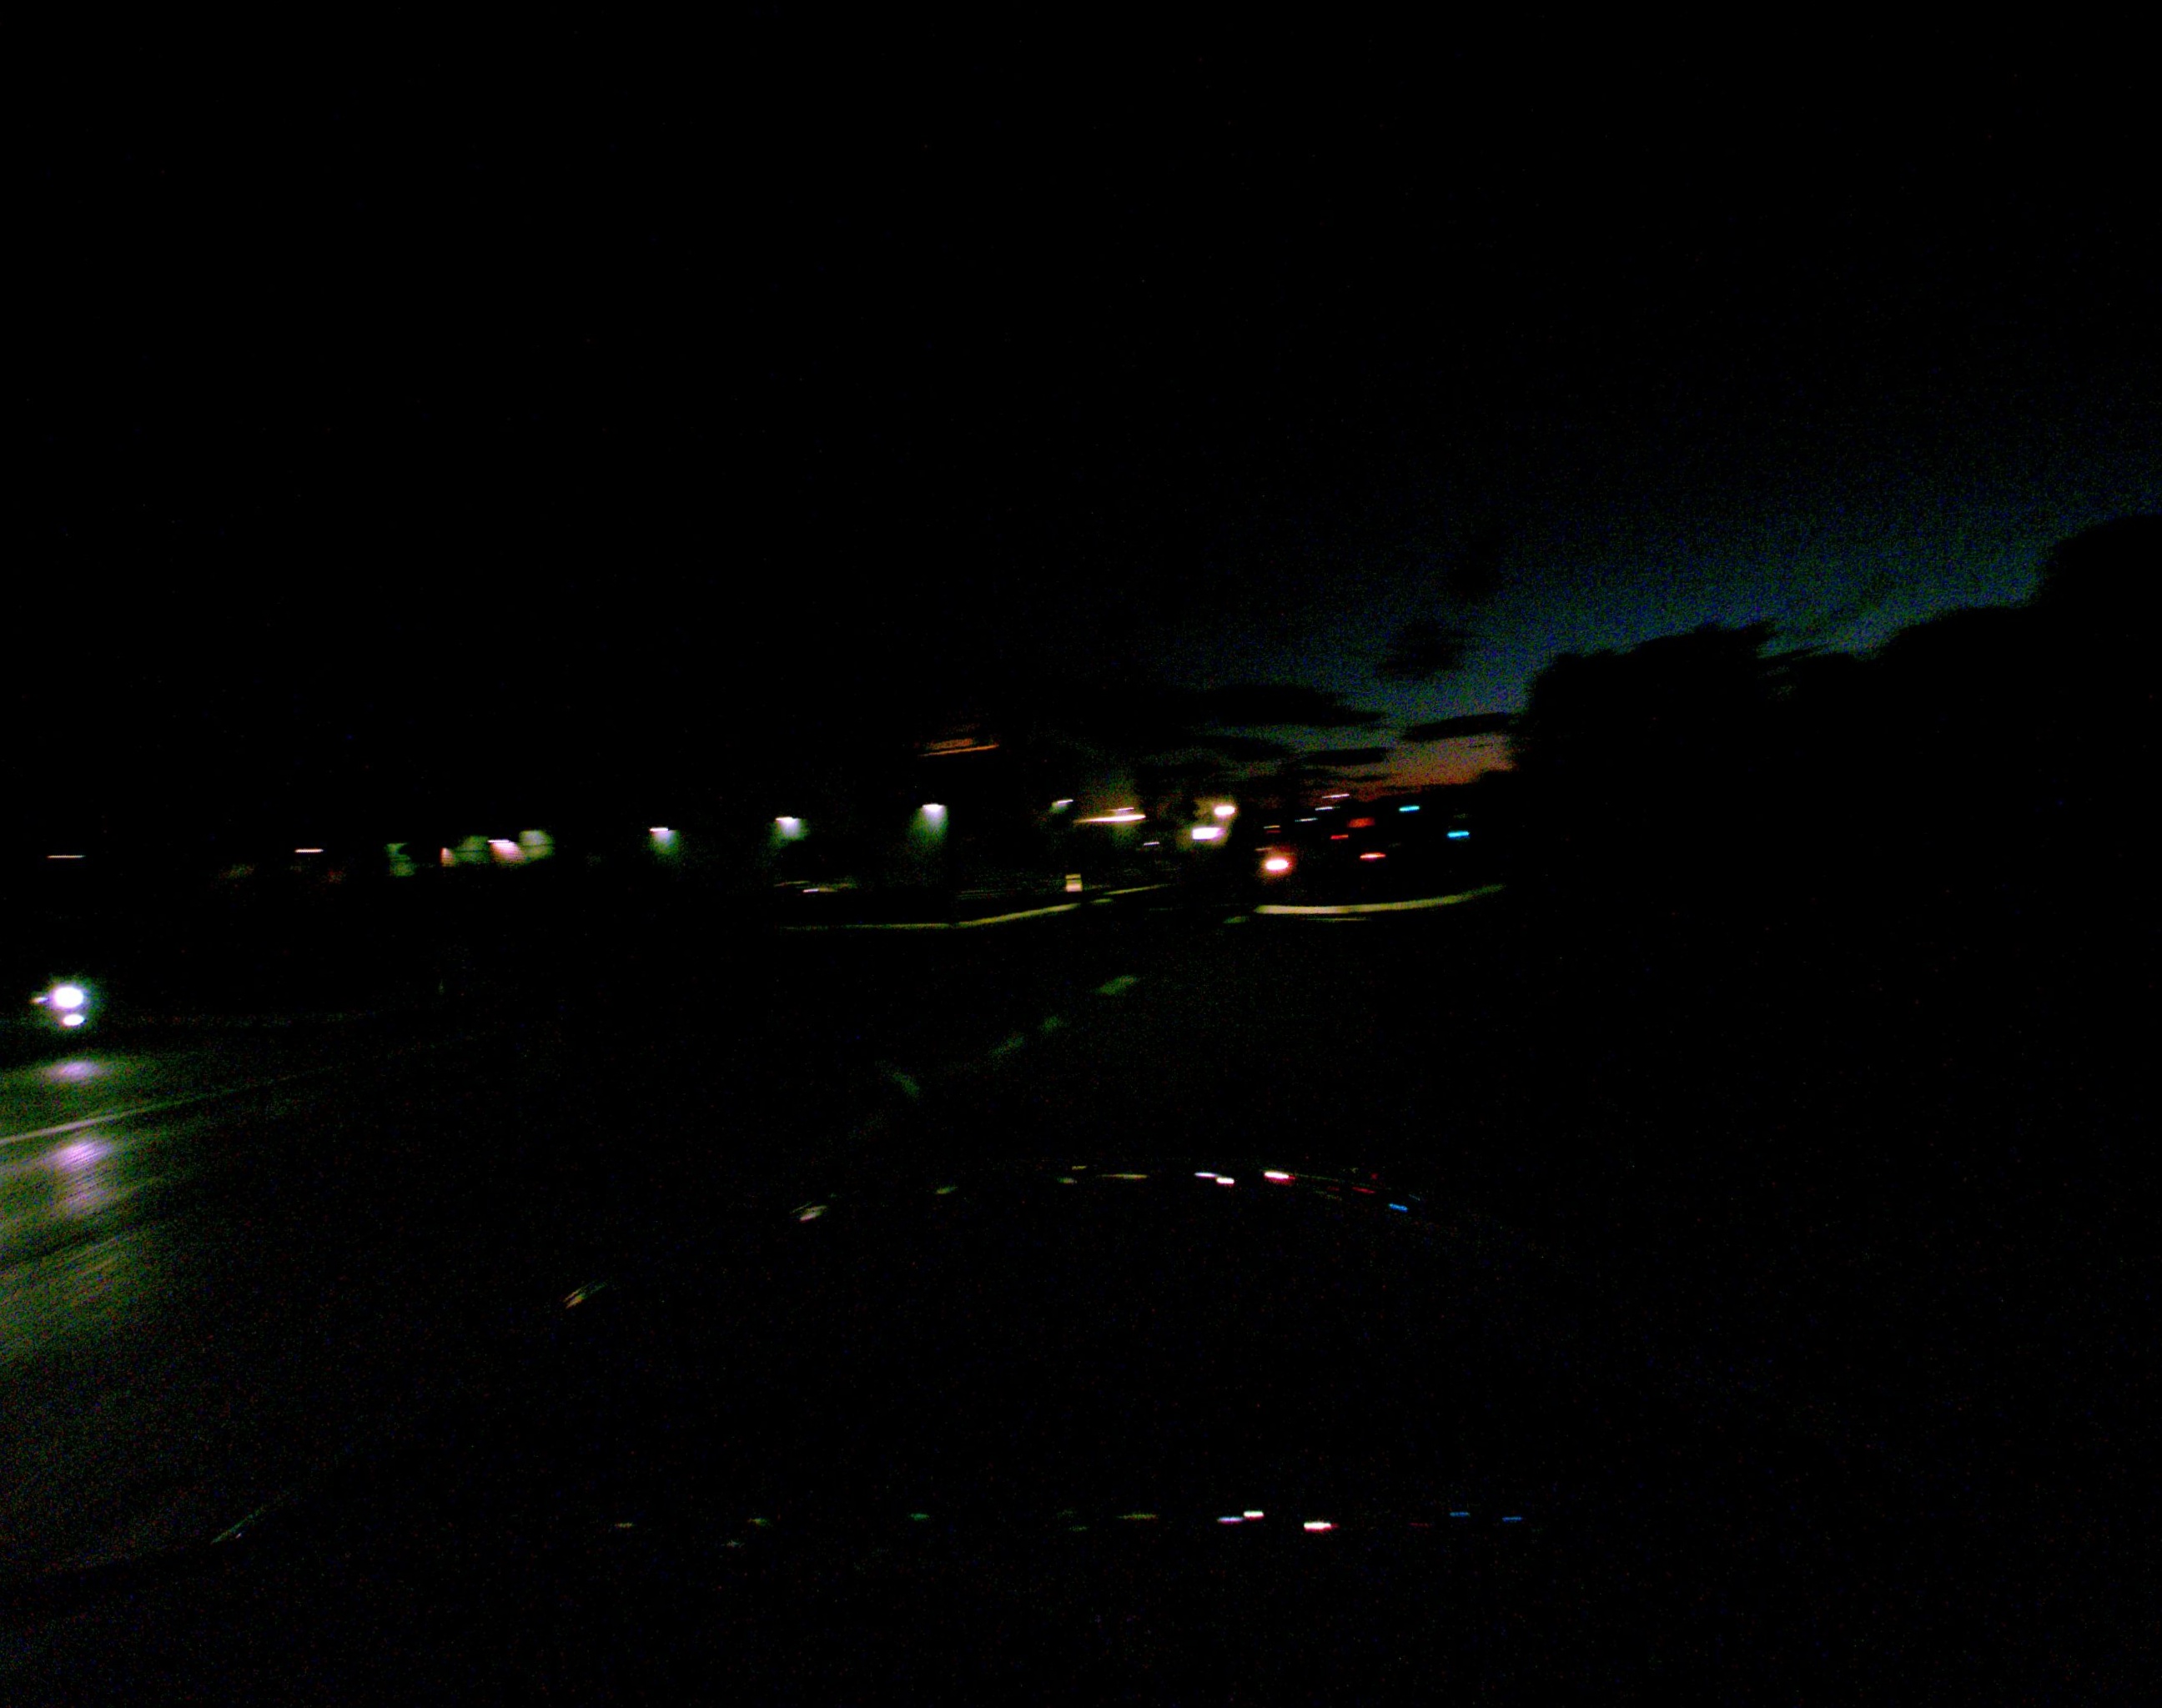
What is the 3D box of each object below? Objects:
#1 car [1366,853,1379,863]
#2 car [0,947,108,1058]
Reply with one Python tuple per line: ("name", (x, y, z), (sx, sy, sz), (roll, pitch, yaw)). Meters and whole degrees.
("car", (54.074, 0.644, 151.230), (1.920, 1.646, 4.017), (-4, 0, 16))
("car", (-17.295, 2.350, 12.610), (3.824, 1.474, 1.714), (-5, -2, 22))
